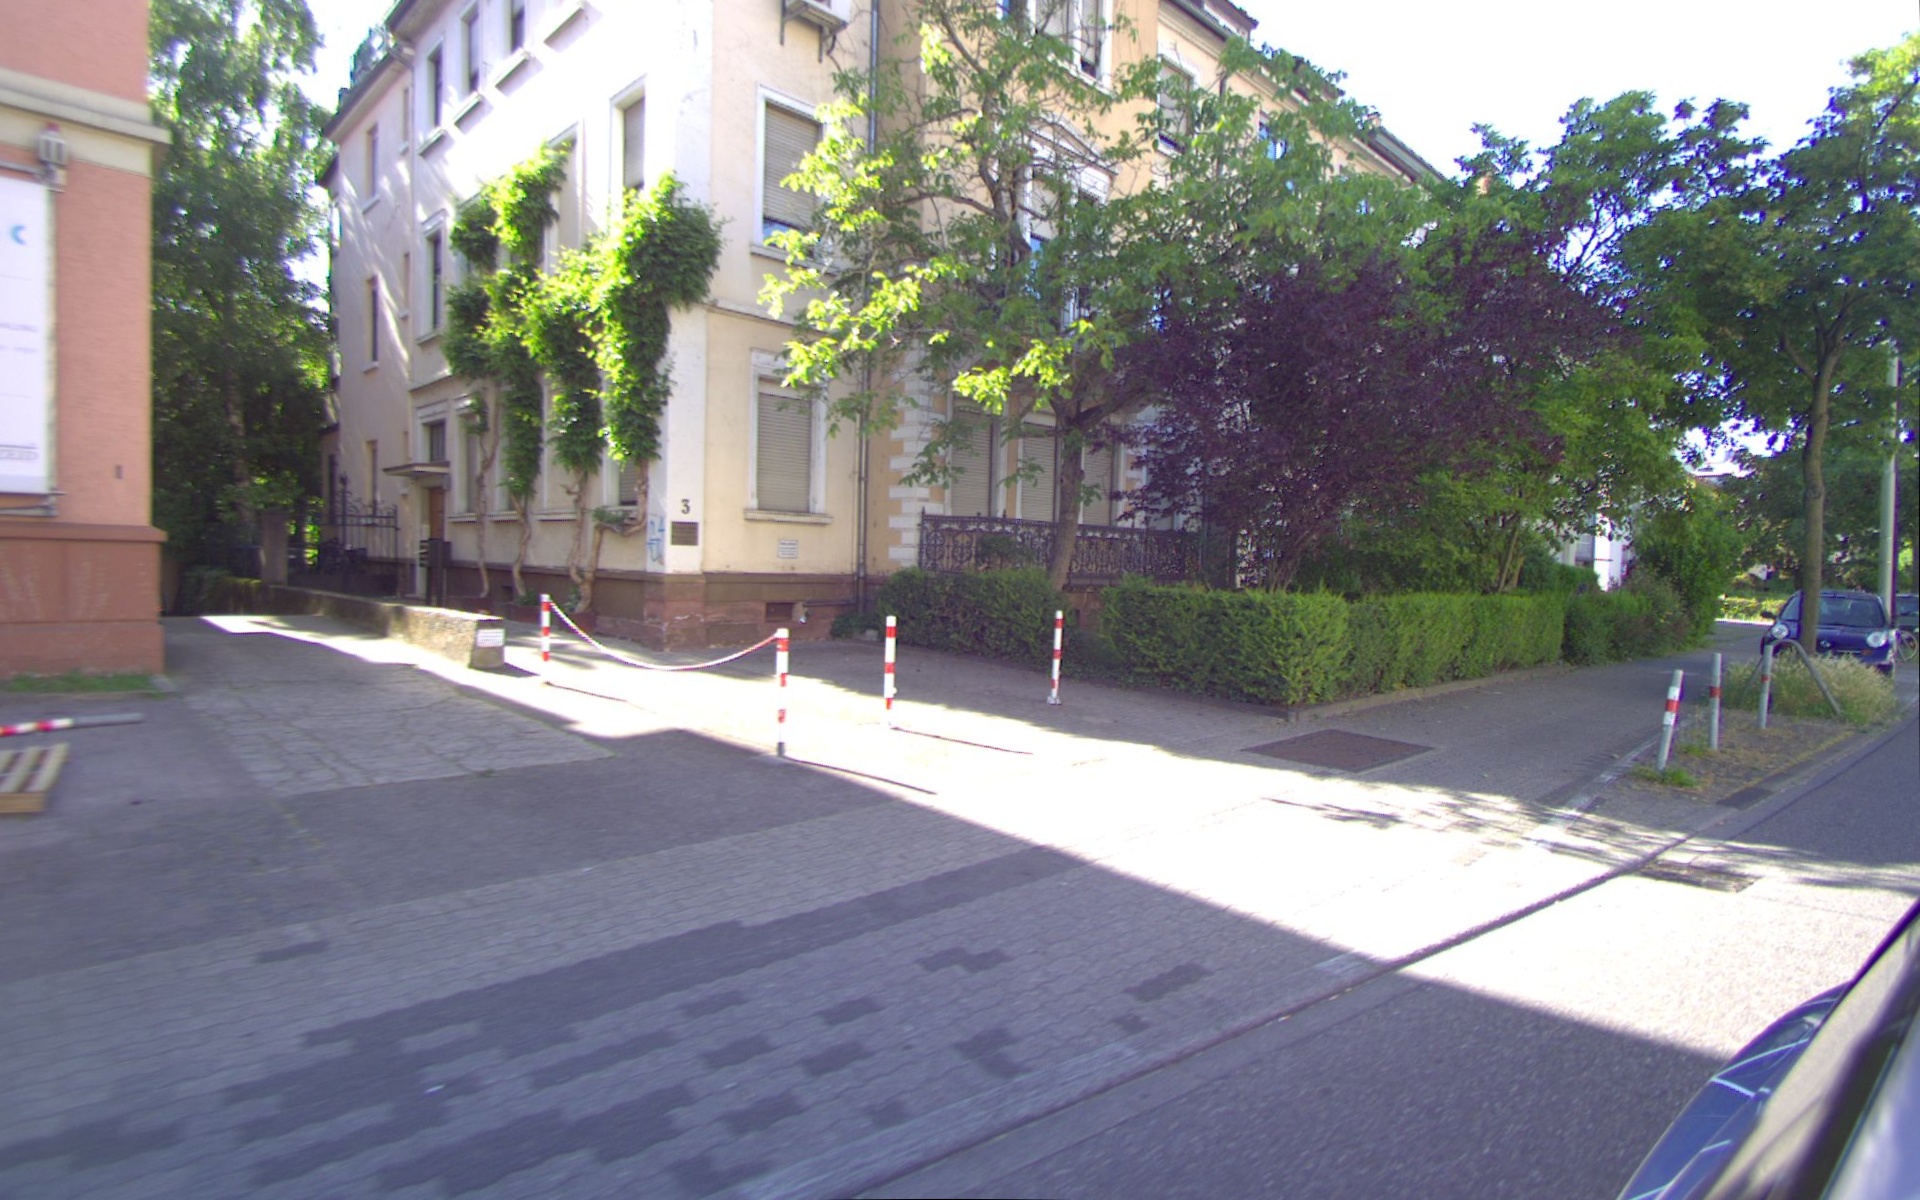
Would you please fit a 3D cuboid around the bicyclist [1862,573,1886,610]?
[{"bbox_3d":[45.636,-0.417,50.527,0.999,1.815,0.725,0,3,-44],"label":"bicyclist"}]

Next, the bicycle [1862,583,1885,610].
[{"bbox_3d":[45.578,-0.186,50.487,1.792,1.262,0.699,0,3,-45],"label":"bicycle"}]

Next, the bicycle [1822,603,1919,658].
[{"bbox_3d":[20.593,0.659,22.744,0.514,1.033,1.746,-2,6,-36],"label":"bicycle"}]

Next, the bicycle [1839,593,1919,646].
[{"bbox_3d":[23.110,0.475,25.319,1.640,1.252,0.471,2,1,8],"label":"bicycle"}]

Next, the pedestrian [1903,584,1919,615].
[{"bbox_3d":[54.296,-0.051,57.701,0.763,1.703,0.670,0,3,-44],"label":"pedestrian"}]

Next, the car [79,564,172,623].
[{"bbox_3d":[-21.510,-0.179,26.038,1.647,1.427,3.636,0,1,-43],"label":"car"}]

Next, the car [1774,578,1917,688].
[{"bbox_3d":[14.876,0.471,16.939,1.560,1.533,3.597,6,5,43],"label":"car"}]

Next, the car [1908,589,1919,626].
[{"bbox_3d":[39.097,0.313,40.276,4.078,1.445,1.694,0,3,-43],"label":"car"}]

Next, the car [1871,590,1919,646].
[{"bbox_3d":[26.049,0.479,27.480,3.910,1.400,1.614,0,3,-44],"label":"car"}]

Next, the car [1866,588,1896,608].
[{"bbox_3d":[74.035,-0.170,81.342,3.657,1.372,1.534,0,5,-45],"label":"car"}]

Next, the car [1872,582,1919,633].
[{"bbox_3d":[30.608,0.236,32.556,1.715,1.507,4.167,4,3,44],"label":"car"}]
